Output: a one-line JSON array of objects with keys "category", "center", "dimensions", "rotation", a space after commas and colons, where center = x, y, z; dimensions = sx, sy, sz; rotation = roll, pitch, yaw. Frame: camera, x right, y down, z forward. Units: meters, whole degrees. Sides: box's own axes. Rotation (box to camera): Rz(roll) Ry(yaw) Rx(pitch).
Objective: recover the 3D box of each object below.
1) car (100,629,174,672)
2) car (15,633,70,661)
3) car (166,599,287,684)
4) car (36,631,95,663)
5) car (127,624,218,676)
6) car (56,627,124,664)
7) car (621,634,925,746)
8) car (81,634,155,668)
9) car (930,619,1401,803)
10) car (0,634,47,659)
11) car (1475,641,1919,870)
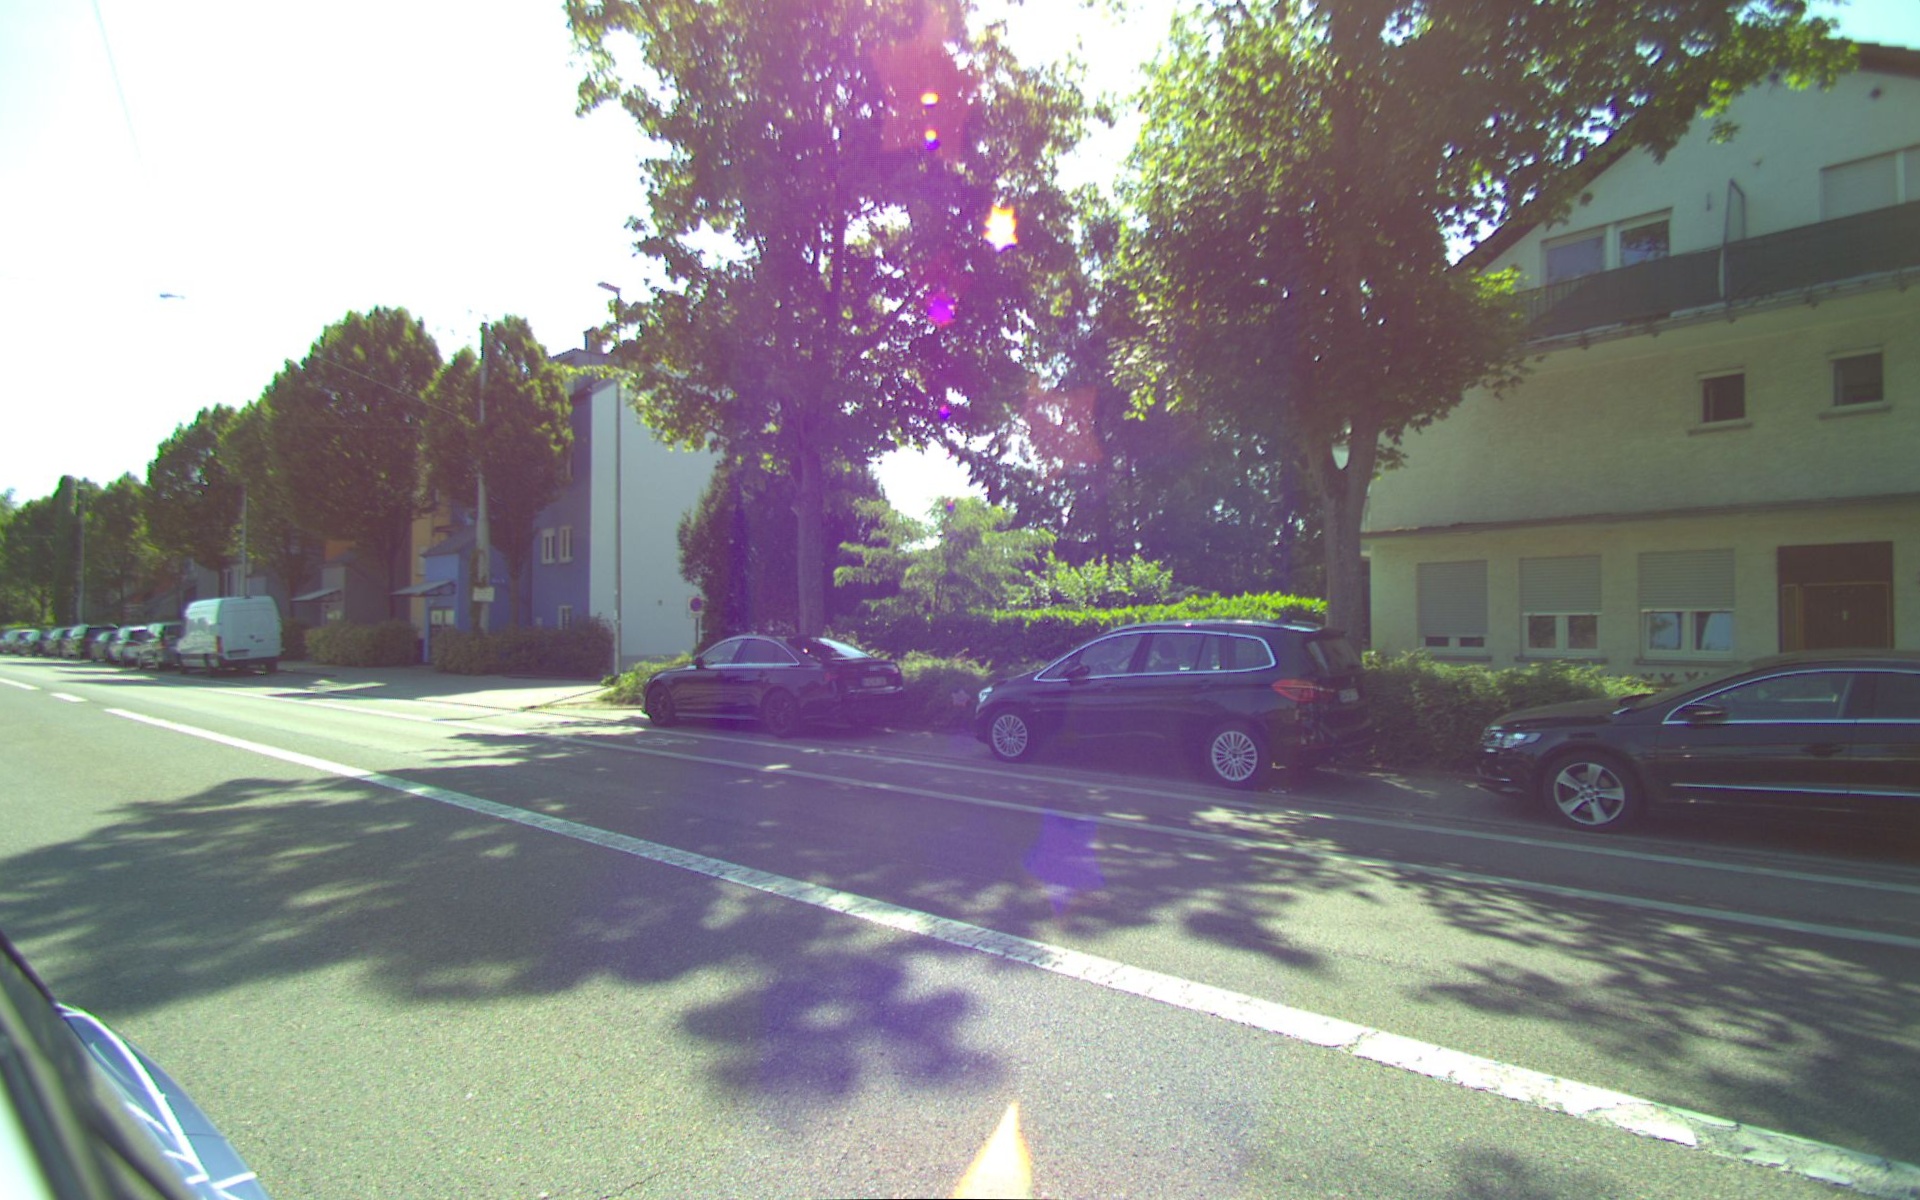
[{"category": "car", "center": [-36.742, 2.204, 45.150], "dimensions": [4.539, 1.715, 1.829], "rotation": [-1, 1, 42]}, {"category": "car", "center": [-53.379, 2.707, 58.883], "dimensions": [4.207, 1.481, 1.661], "rotation": [-1, -1, 38]}, {"category": "car", "center": [-26.293, 1.423, 36.133], "dimensions": [7.084, 2.697, 1.972], "rotation": [-2, 1, 42]}, {"category": "car", "center": [-48.592, 2.496, 54.958], "dimensions": [4.159, 1.619, 1.661], "rotation": [-1, -1, 38]}, {"category": "car", "center": [-32.321, 2.018, 41.509], "dimensions": [4.964, 1.879, 1.973], "rotation": [-2, 2, 41]}, {"category": "car", "center": [-44.496, 2.297, 51.734], "dimensions": [4.343, 1.741, 1.812], "rotation": [-1, 0, 38]}, {"category": "car", "center": [-2.985, 1.260, 15.558], "dimensions": [4.903, 1.477, 1.822], "rotation": [-2, -2, 38]}, {"category": "car", "center": [-40.412, 2.410, 48.572], "dimensions": [4.069, 1.466, 1.849], "rotation": [-1, 1, 38]}, {"category": "car", "center": [2.056, 1.048, 11.222], "dimensions": [4.891, 1.618, 1.743], "rotation": [-2, -2, 41]}, {"category": "car", "center": [-58.786, 2.853, 63.137], "dimensions": [4.826, 1.457, 1.662], "rotation": [-1, -1, 35]}, {"category": "car", "center": [6.510, 1.030, 7.233], "dimensions": [4.779, 1.390, 1.673], "rotation": [-2, -1, 41]}]
